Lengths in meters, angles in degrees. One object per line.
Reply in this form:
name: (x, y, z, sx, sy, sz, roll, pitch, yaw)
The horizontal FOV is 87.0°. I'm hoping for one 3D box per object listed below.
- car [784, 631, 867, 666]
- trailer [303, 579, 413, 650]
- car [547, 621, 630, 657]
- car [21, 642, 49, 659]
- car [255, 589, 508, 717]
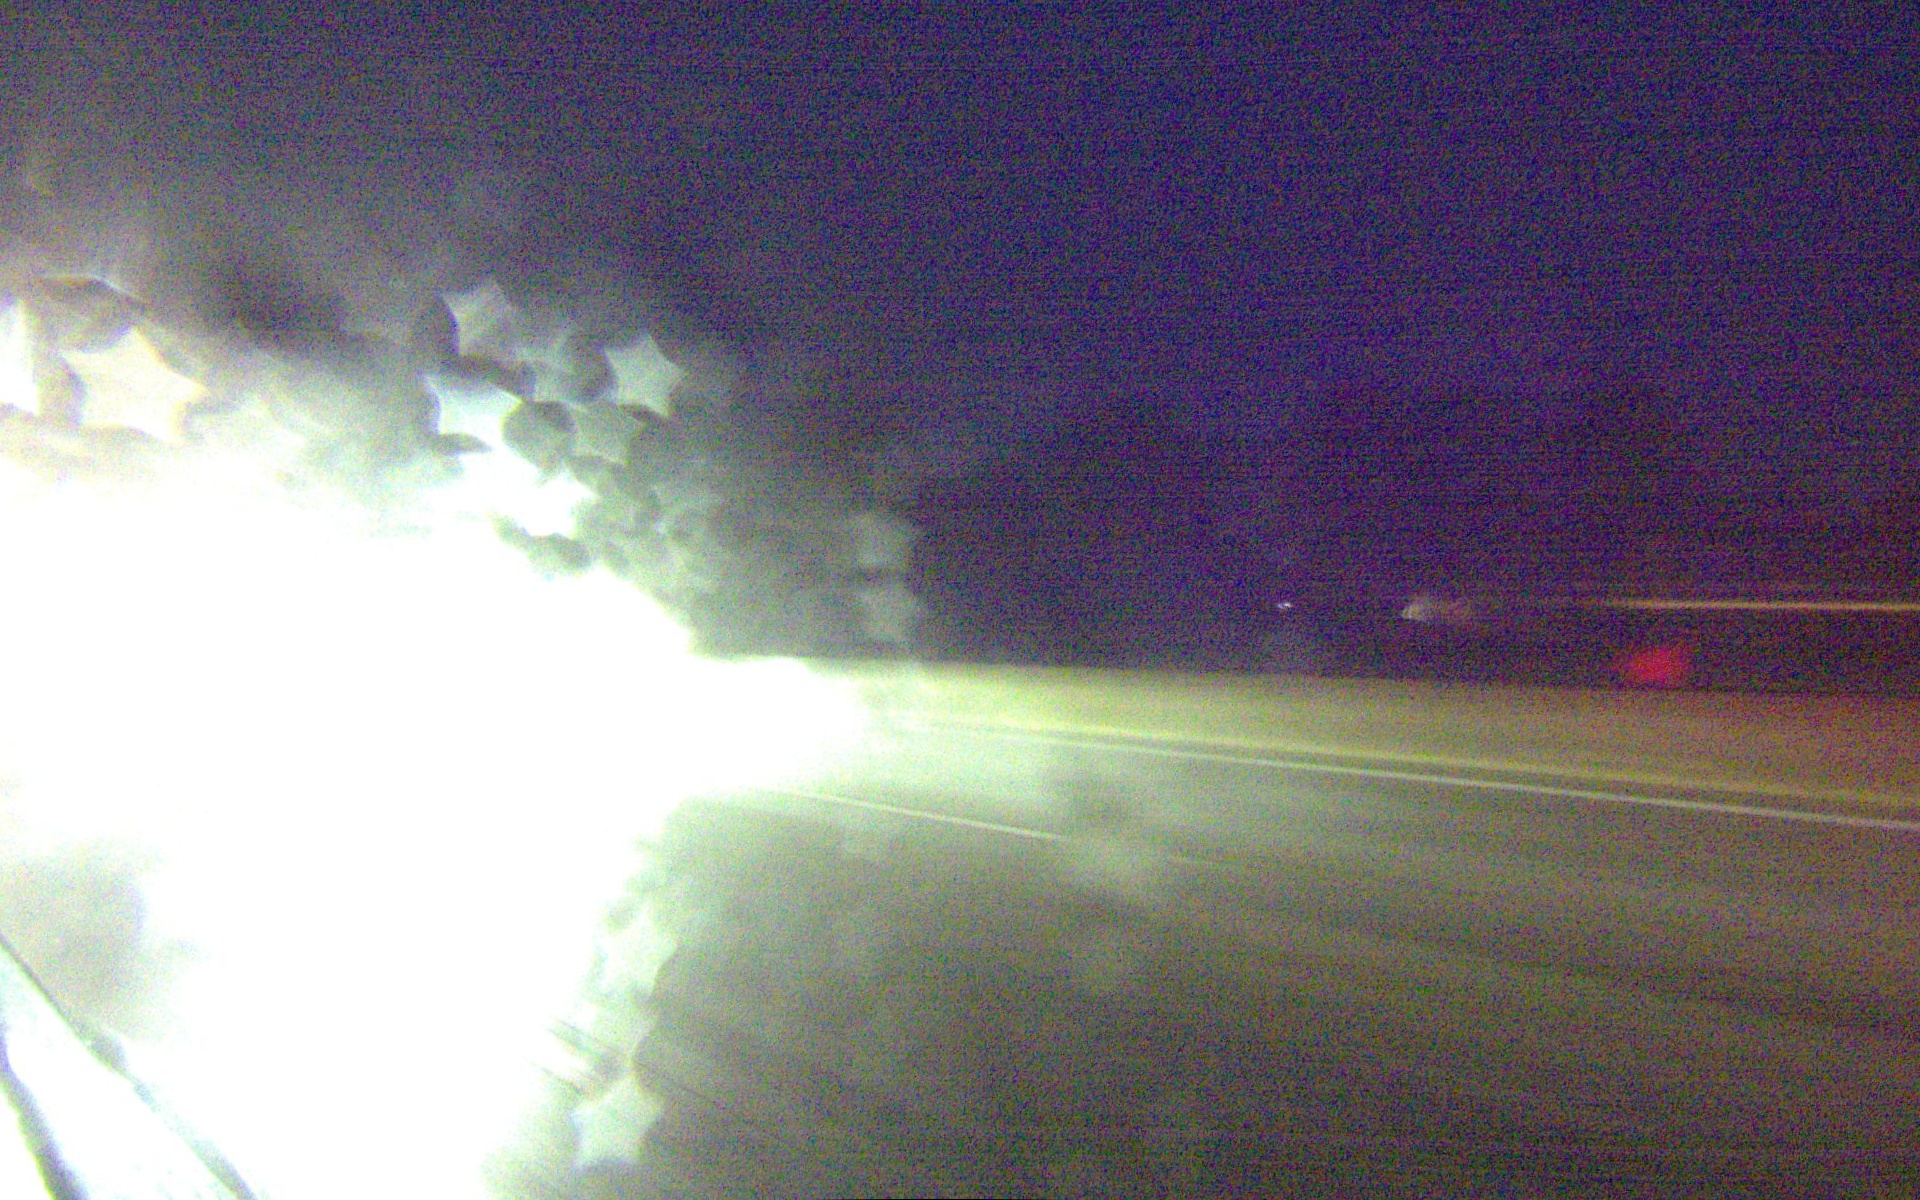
car: (-5.992, 2.134, 44.765, 3.701, 1.309, 1.597, 1, -3, 43)
trailer: (-42.735, 0.904, 71.508, 13.916, 4.578, 2.521, 1, -3, 43)
car: (-15.161, 1.574, 41.265, 3.701, 1.309, 1.597, 1, -3, 43)
car: (-77.950, 4.268, 85.269, 1.686, 1.304, 3.995, 4, -5, -43)
car: (-10.311, 0.845, 17.806, 5.553, 1.898, 2.114, 1, -3, 42)
